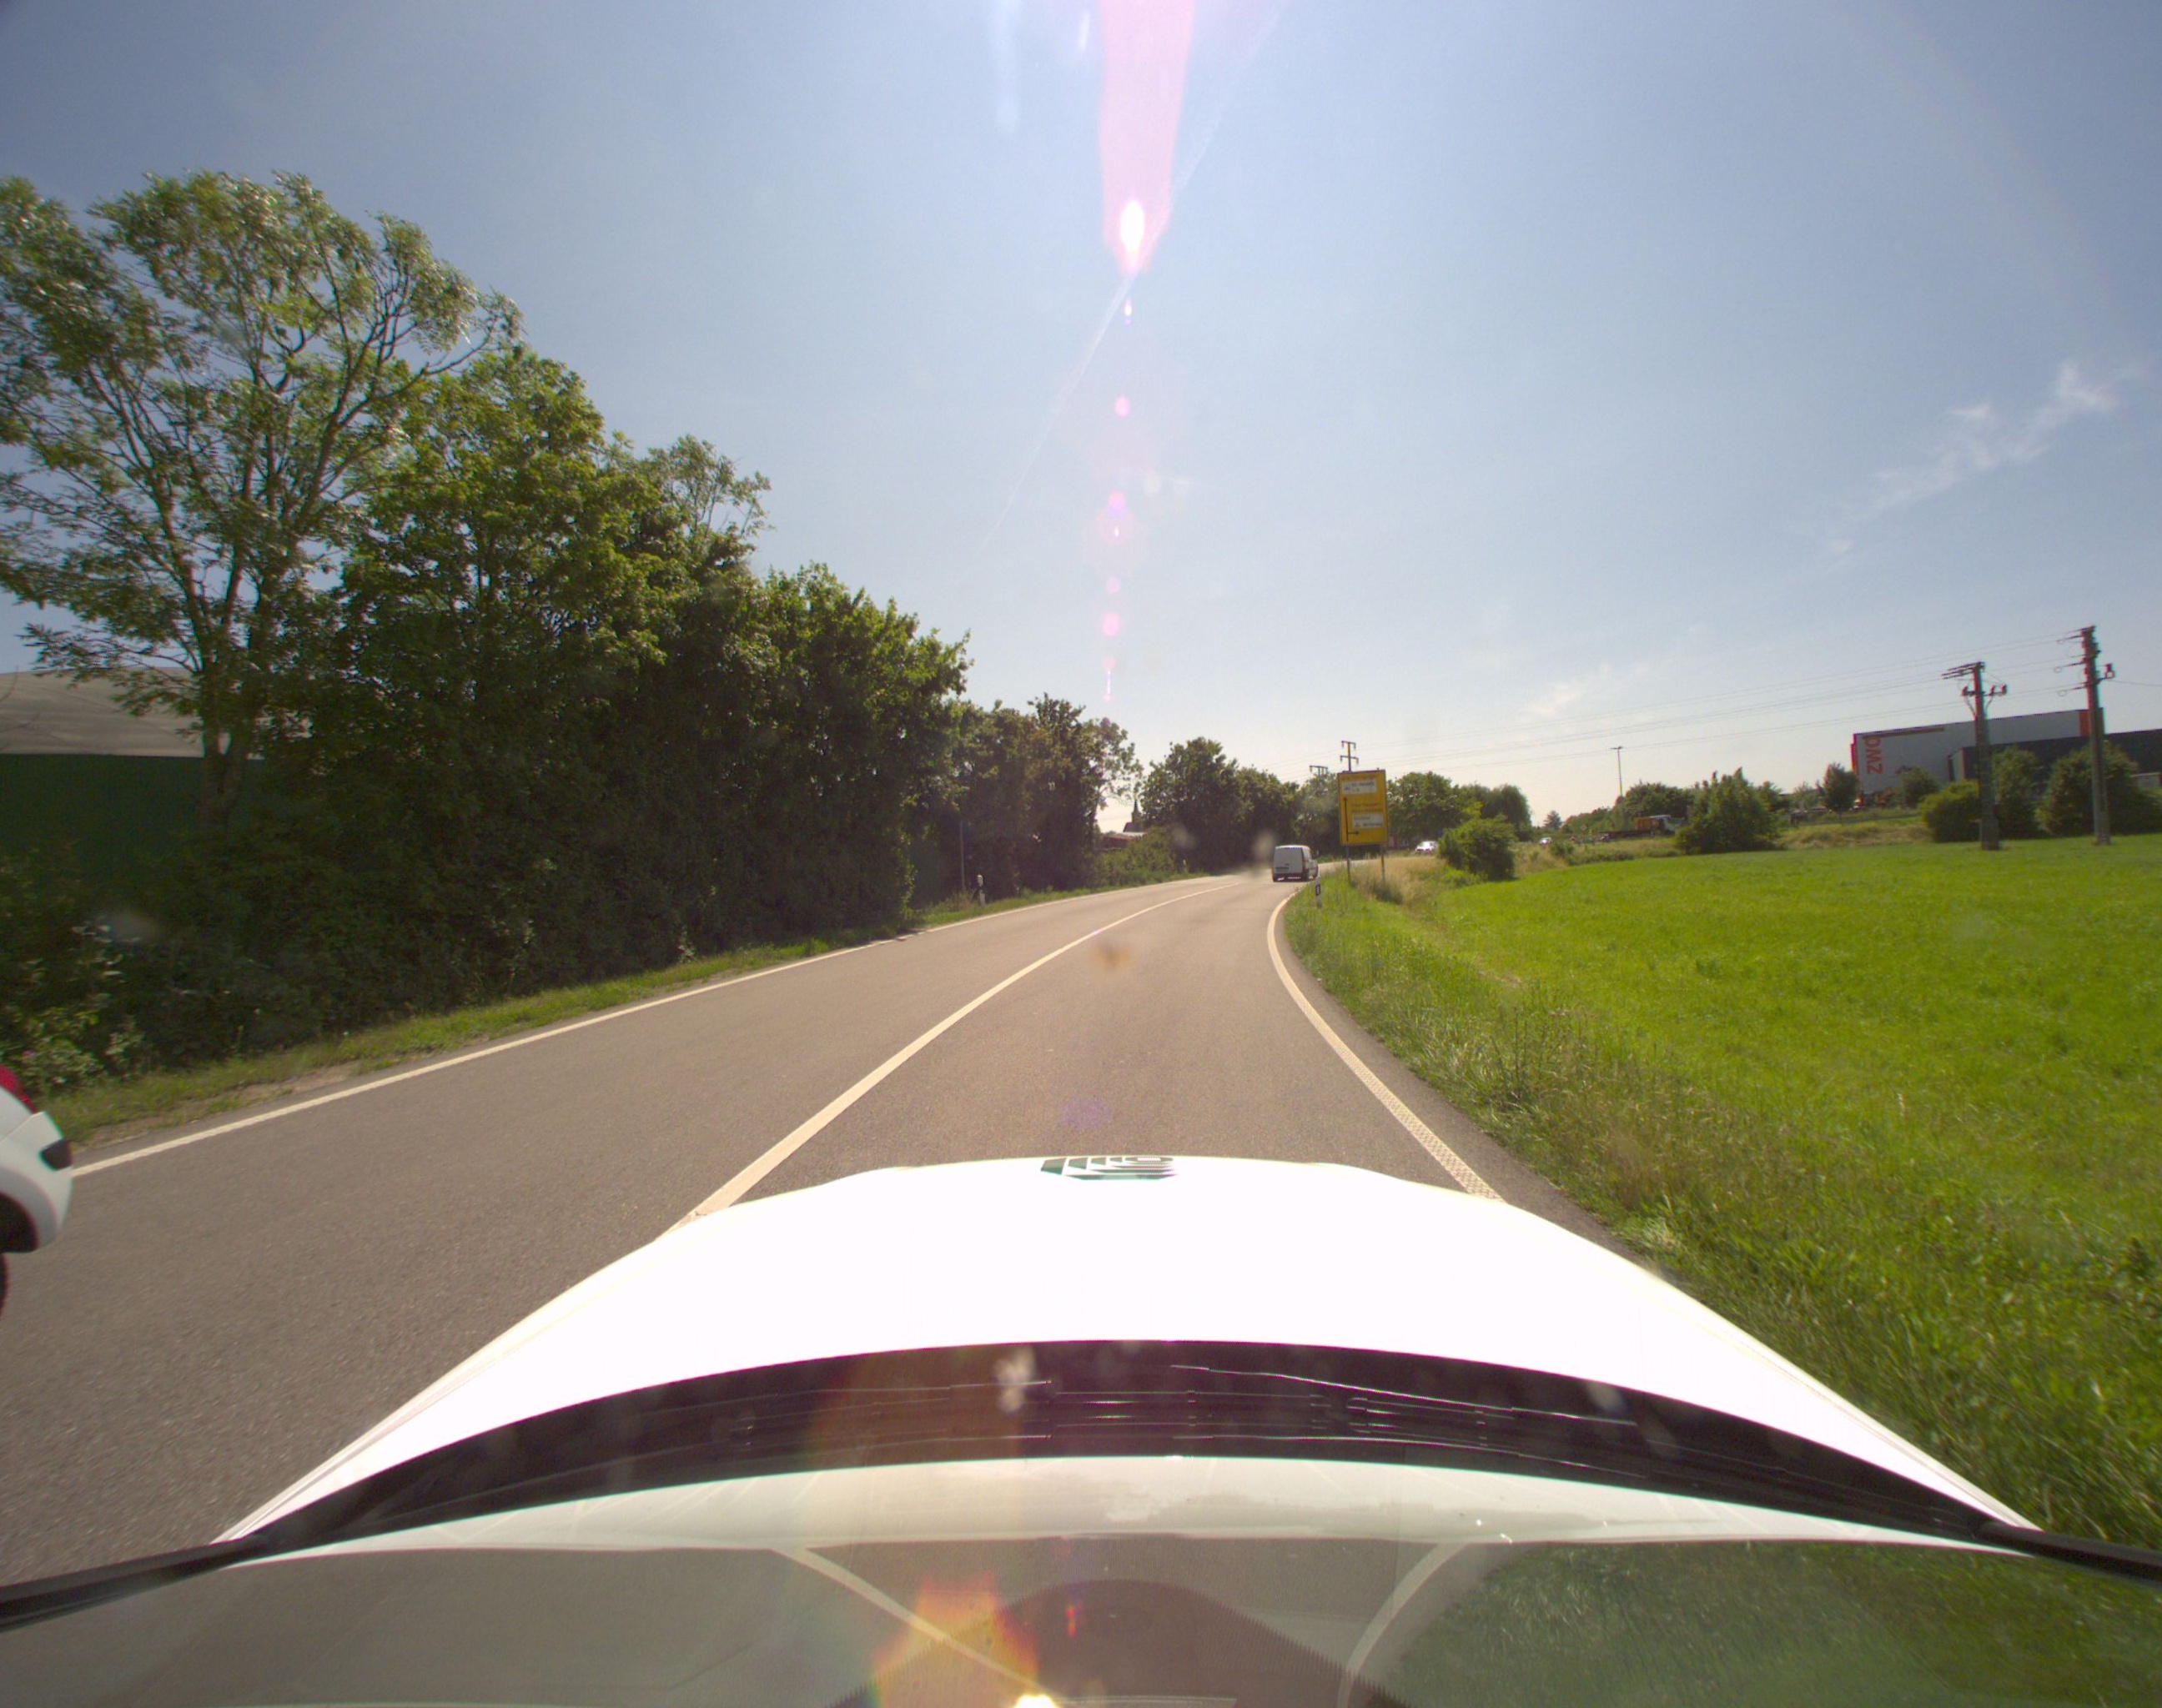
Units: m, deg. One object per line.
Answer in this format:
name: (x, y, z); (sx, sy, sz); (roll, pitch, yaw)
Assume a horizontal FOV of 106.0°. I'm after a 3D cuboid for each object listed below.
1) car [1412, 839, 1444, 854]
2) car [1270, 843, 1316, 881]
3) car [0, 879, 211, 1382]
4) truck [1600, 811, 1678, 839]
car: (37.248, -0.815, 87.424); (1.837, 1.601, 4.808); (0, 1, 40)
car: (10.839, 0.401, 41.481); (1.888, 1.732, 3.841); (-3, -1, 19)
car: (-3.983, 0.802, 1.136); (1.530, 1.443, 3.611); (-2, -1, 4)
truck: (67.944, -3.473, 99.197); (8.796, 3.137, 3.090); (-1, -2, -18)
